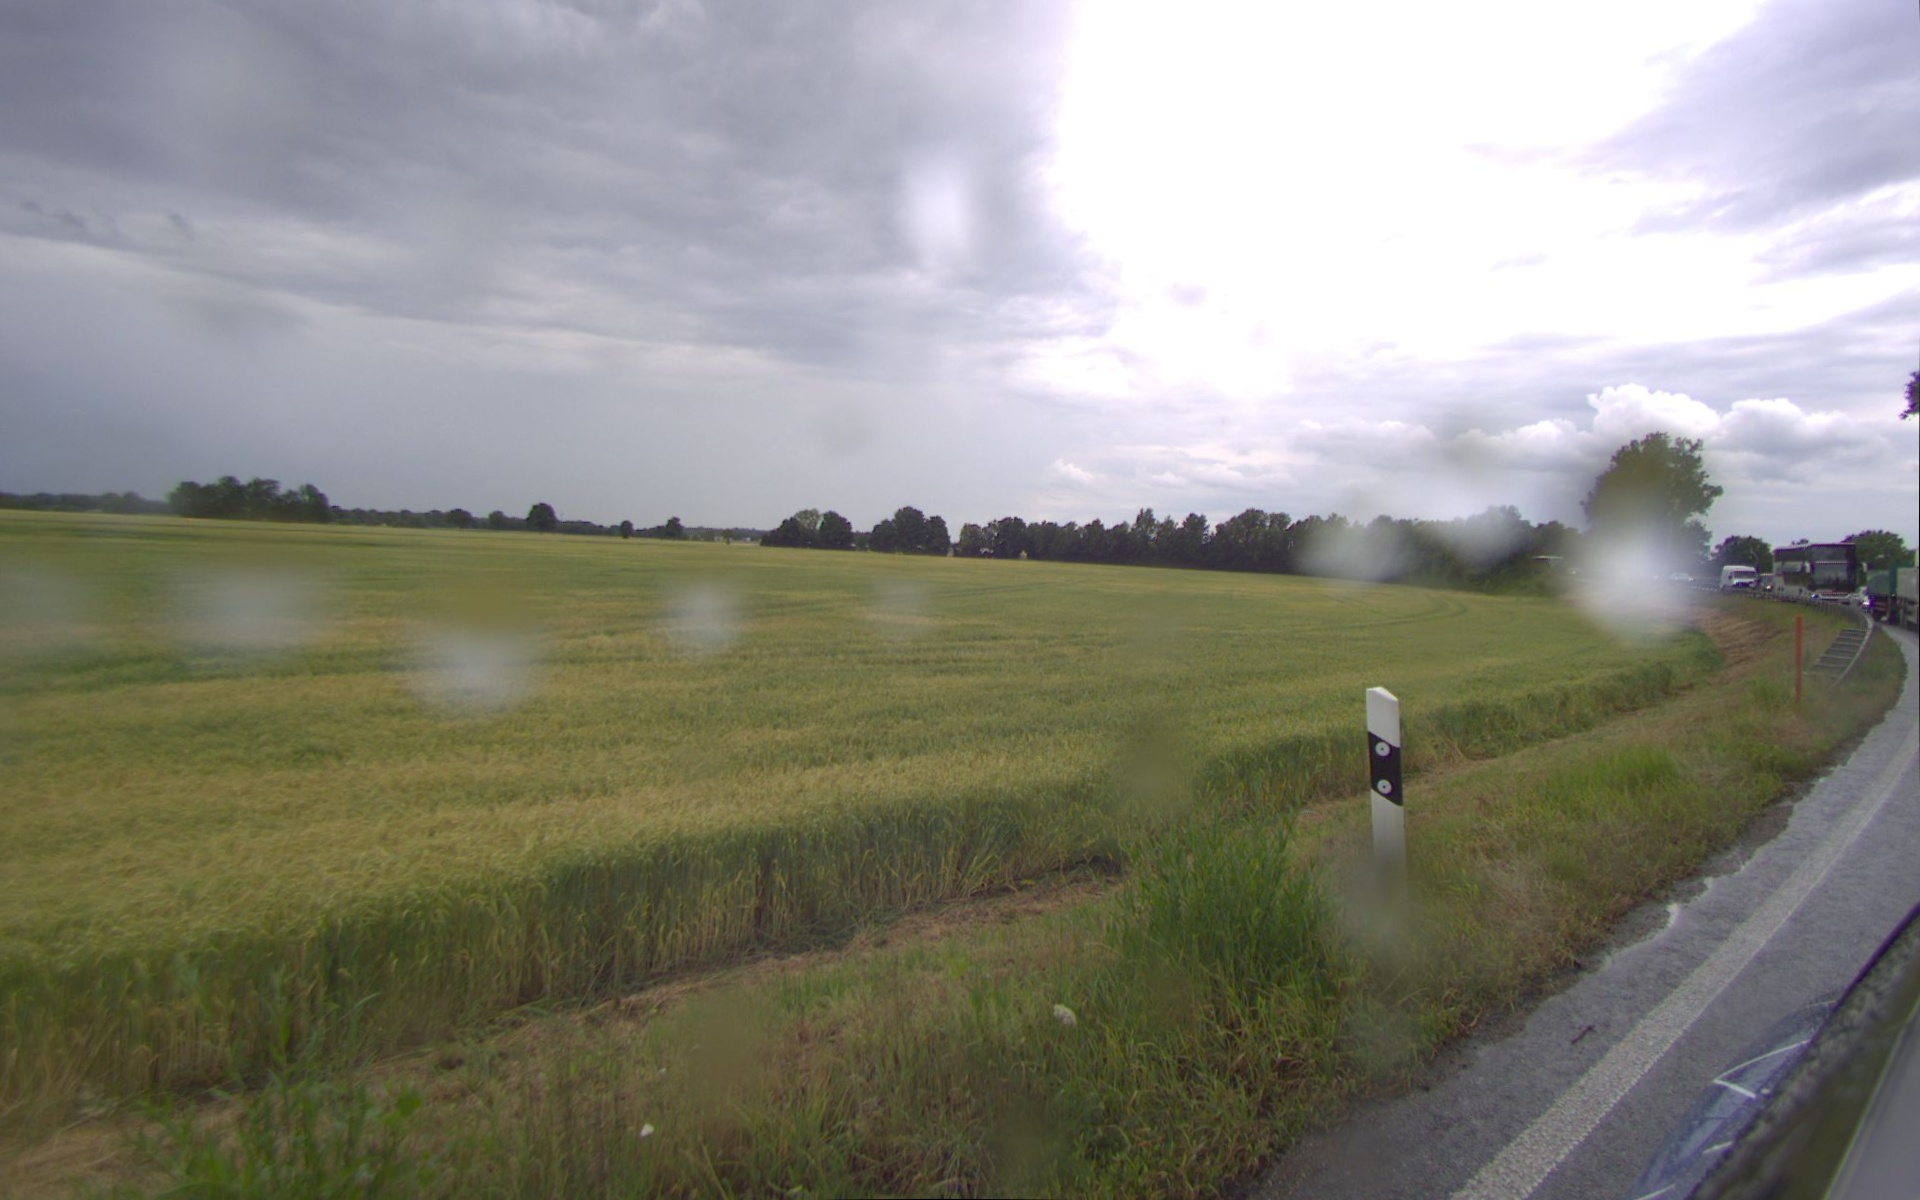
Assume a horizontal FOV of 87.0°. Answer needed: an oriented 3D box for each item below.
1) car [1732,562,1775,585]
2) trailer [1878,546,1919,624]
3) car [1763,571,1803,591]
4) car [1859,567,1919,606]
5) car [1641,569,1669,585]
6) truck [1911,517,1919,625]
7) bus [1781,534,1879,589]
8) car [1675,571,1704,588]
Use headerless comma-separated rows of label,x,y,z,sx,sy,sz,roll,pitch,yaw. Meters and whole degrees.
car,73.234,-2.457,93.505,1.979,2.038,5.291,0,2,25
trailer,38.876,-0.695,39.883,2.970,2.665,15.466,0,2,38
car,66.320,-1.545,81.569,1.799,1.597,3.960,0,2,29
car,47.924,-0.734,51.939,2.030,1.865,5.270,0,2,35
car,91.540,-3.035,133.342,1.975,2.038,4.238,0,1,20
truck,33.611,-0.966,33.243,2.971,3.655,5.997,0,2,39
bus,58.949,-2.650,68.934,2.944,3.353,14.670,0,2,32
car,85.587,-2.419,118.797,1.980,2.038,4.195,0,2,26
